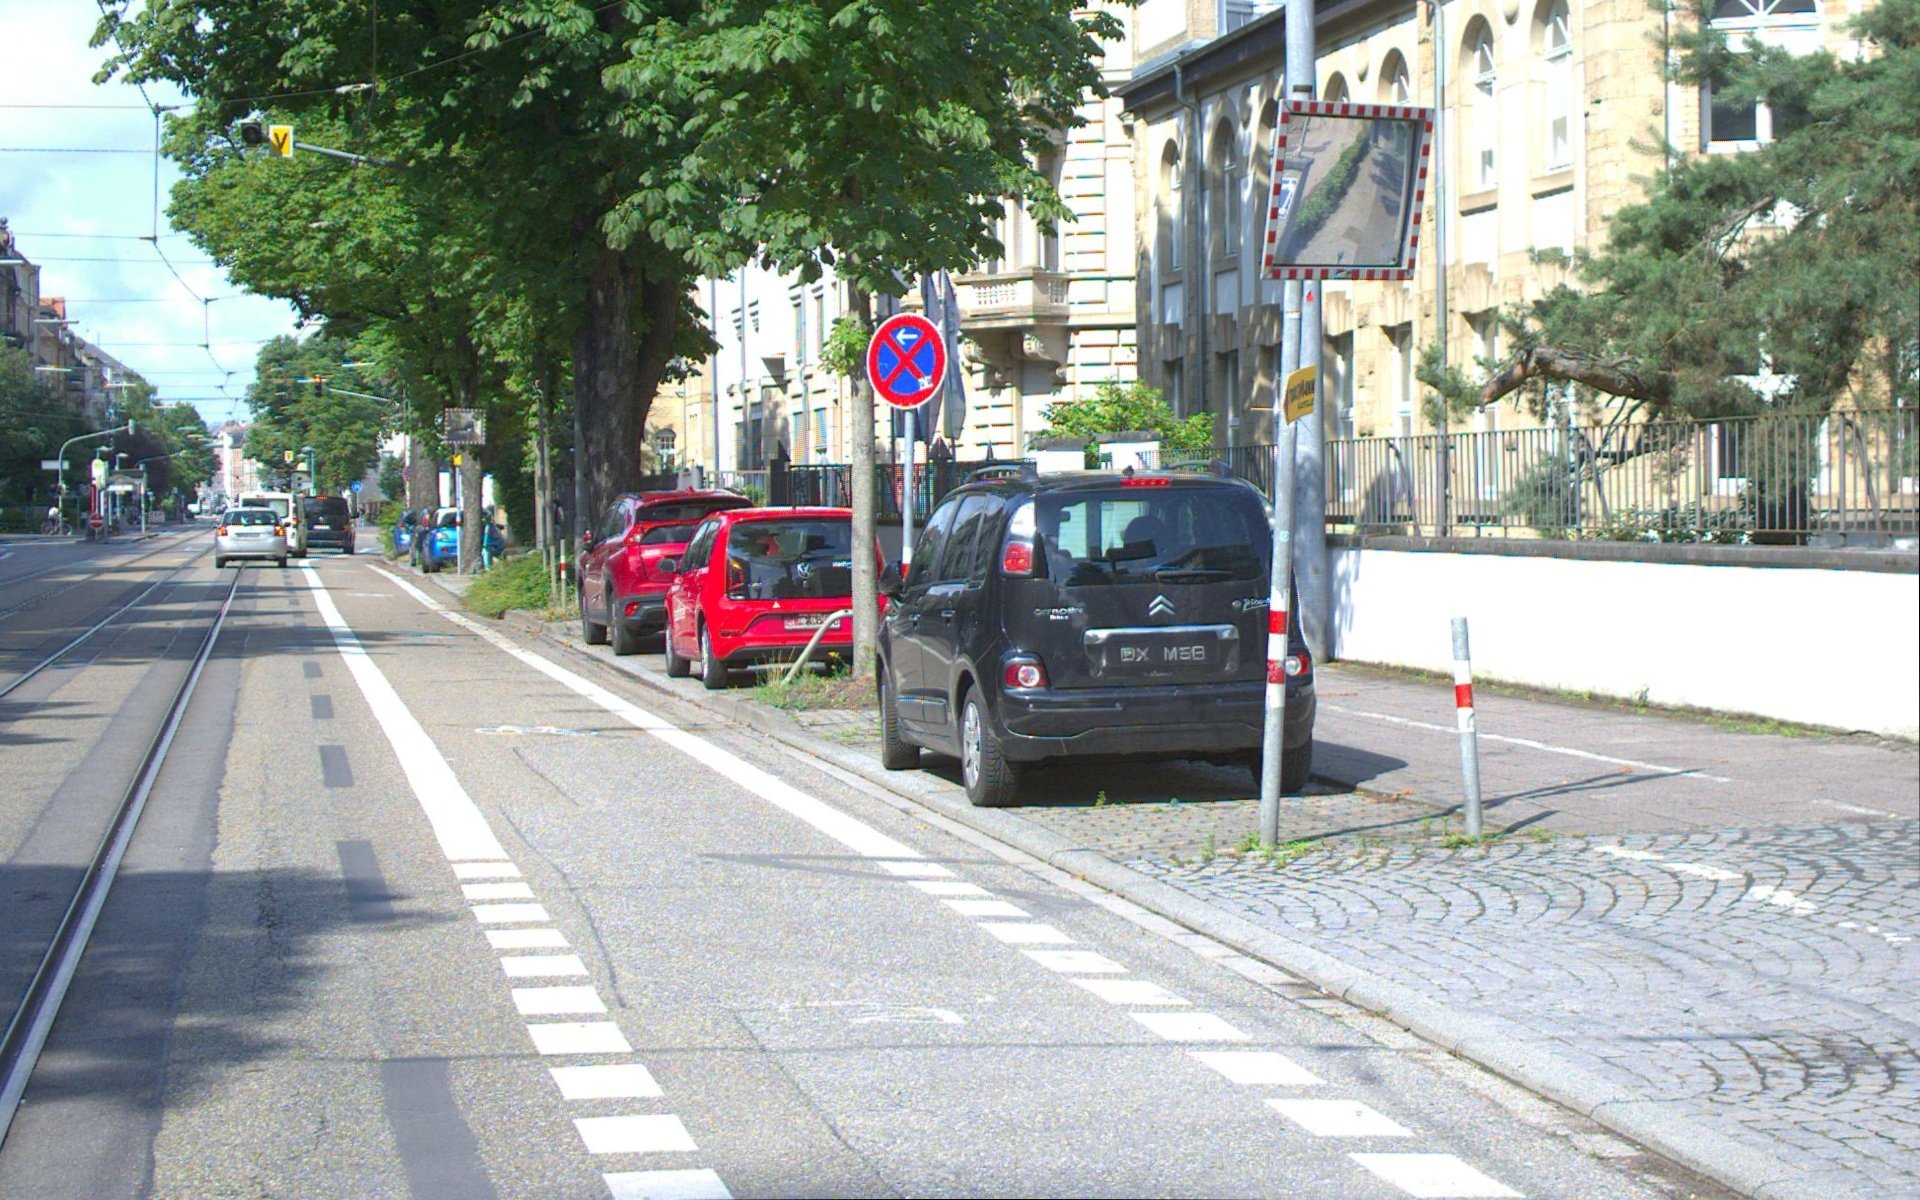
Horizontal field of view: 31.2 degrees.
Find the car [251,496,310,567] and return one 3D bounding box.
[{"bbox_3d":[-19.890,-1.994,100.621,1.621,1.993,3.566,2,0,-11],"label":"car"}]

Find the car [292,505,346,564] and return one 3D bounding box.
[{"bbox_3d":[-20.910,-2.117,112.040,1.621,1.842,3.566,2,0,-11],"label":"car"}]

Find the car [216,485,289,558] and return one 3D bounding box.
[{"bbox_3d":[-17.022,-1.871,82.785,1.621,1.678,3.566,2,0,-11],"label":"car"}]

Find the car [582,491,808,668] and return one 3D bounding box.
[{"bbox_3d":[-2.854,-0.223,36.213,1.959,1.700,4.001,2,0,-10],"label":"car"}]

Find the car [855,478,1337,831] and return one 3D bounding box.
[{"bbox_3d":[0.594,0.199,17.792,1.673,1.606,3.586,-1,2,-11],"label":"car"}]

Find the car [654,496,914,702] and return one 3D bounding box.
[{"bbox_3d":[-1.554,-0.068,29.210,1.673,1.606,3.586,-1,2,-11],"label":"car"}]

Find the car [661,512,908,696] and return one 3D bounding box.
[{"bbox_3d":[-1.551,0.013,29.408,1.666,1.481,3.280,0,1,-11],"label":"car"}]

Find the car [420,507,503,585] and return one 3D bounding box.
[{"bbox_3d":[-11.246,-1.206,77.398,1.621,1.678,3.566,2,0,-11],"label":"car"}]
